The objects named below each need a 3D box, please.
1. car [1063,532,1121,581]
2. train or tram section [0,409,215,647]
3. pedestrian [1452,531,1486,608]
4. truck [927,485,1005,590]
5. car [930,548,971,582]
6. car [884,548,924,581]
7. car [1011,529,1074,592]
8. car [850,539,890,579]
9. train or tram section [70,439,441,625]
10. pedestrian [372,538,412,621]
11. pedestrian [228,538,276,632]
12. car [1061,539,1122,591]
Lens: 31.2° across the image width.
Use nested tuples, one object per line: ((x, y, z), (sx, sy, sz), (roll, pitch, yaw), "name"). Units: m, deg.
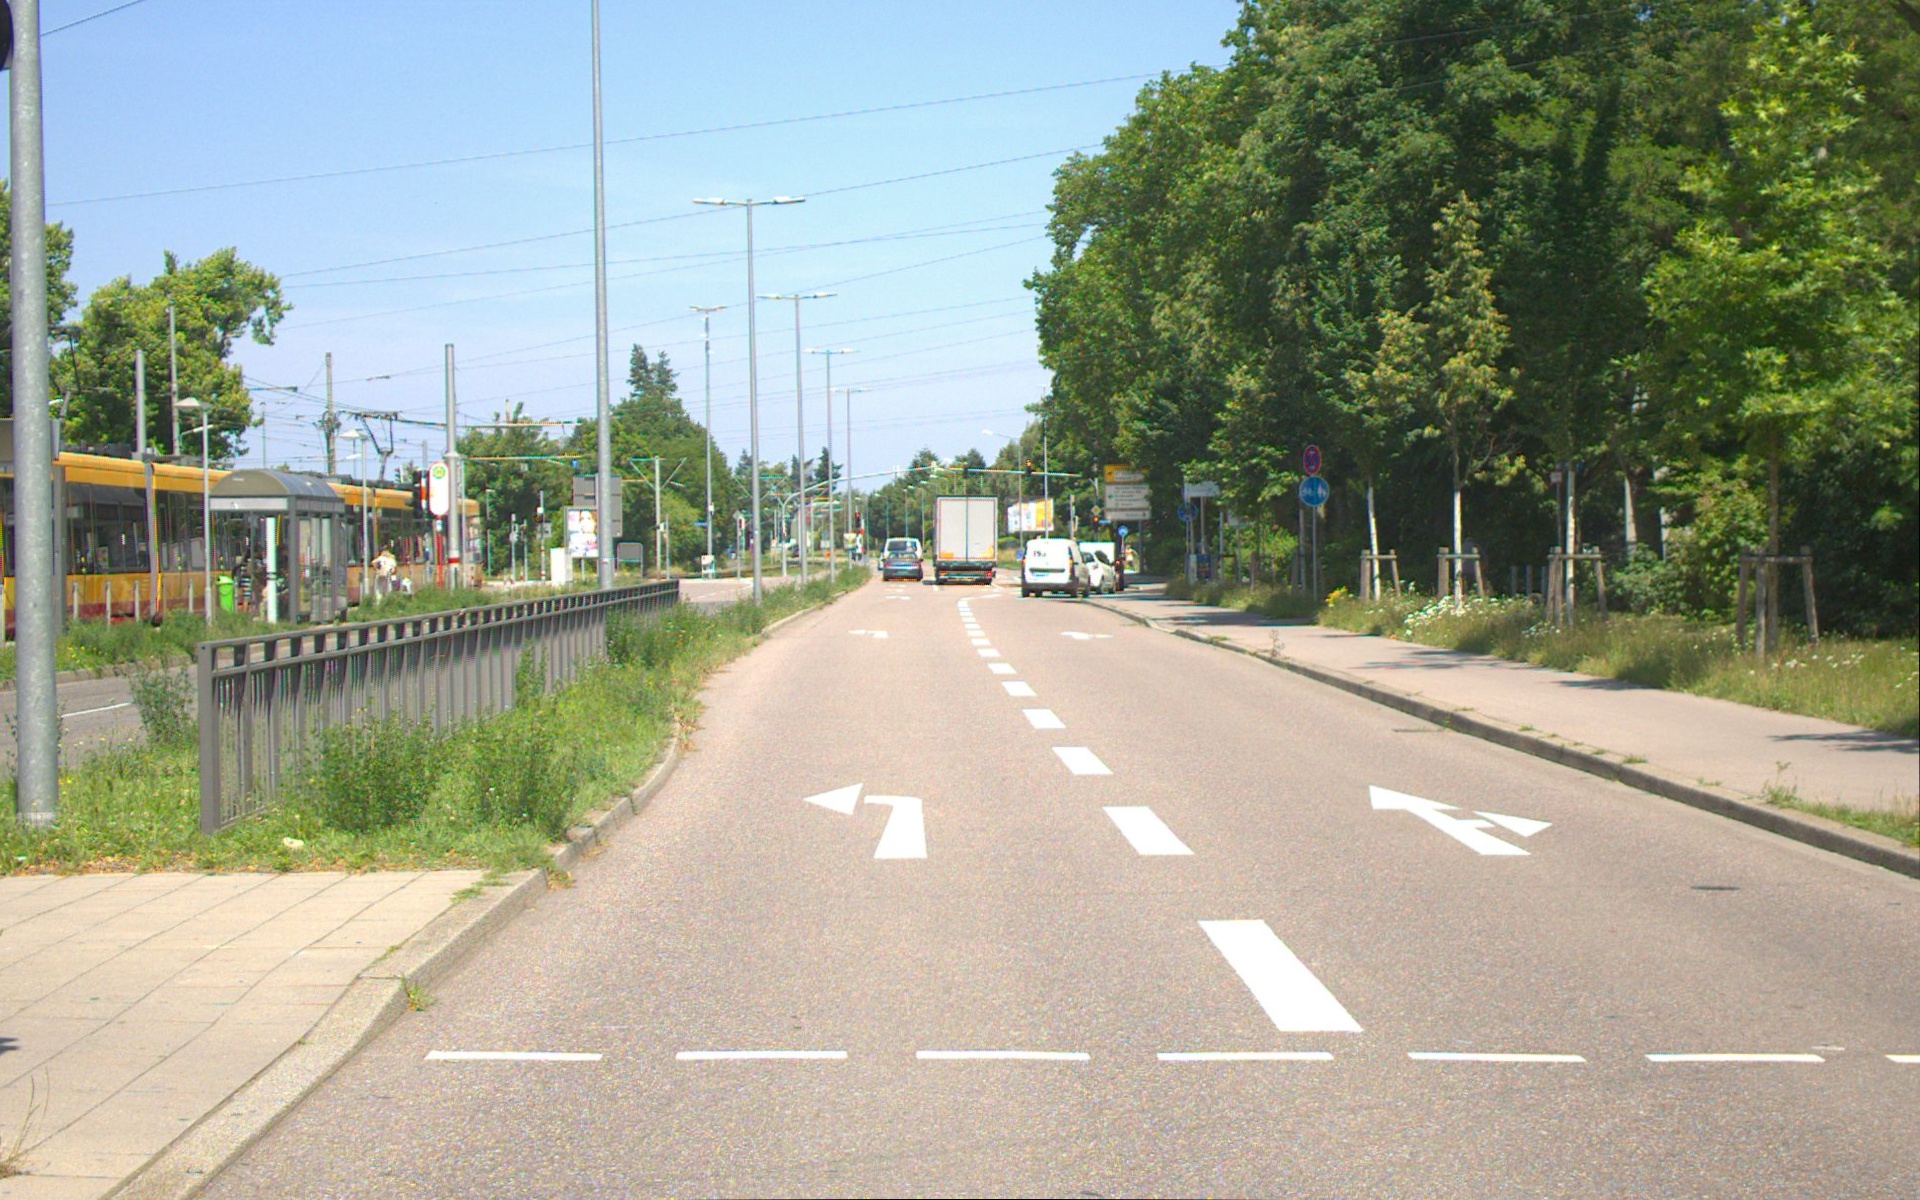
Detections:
((4.538, -1.521, 118.793), (1.779, 1.663, 4.000), (0, 1, -1), "car")
((-16.537, -1.148, 55.567), (2.957, 3.736, 30.035), (0, 1, -1), "train or tram section")
((9.450, -0.570, 63.803), (0.604, 1.433, 0.556), (0, 1, 6), "pedestrian")
((0.202, -2.640, 146.115), (3.205, 4.344, 6.561), (0, 1, -1), "truck")
((-0.444, -1.564, 153.622), (1.811, 1.459, 4.000), (0, 1, -1), "car")
((-2.573, -1.653, 157.919), (1.811, 1.459, 4.000), (0, 1, -1), "car")
((2.500, -1.228, 105.520), (1.779, 1.897, 4.000), (0, 1, -1), "car")
((-4.565, -2.083, 175.170), (1.993, 2.007, 4.000), (0, 1, -1), "car")
((-16.959, -1.691, 87.089), (2.931, 3.776, 33.090), (0, 1, -1), "train or tram section")
((-13.825, -0.513, 83.658), (0.815, 2.007, 0.938), (0, 1, -1), "pedestrian")
((-14.265, -0.307, 69.306), (0.785, 1.862, 0.817), (0, 1, -1), "pedestrian")
((4.288, -1.156, 112.450), (1.779, 1.663, 4.000), (0, 1, -1), "car")
